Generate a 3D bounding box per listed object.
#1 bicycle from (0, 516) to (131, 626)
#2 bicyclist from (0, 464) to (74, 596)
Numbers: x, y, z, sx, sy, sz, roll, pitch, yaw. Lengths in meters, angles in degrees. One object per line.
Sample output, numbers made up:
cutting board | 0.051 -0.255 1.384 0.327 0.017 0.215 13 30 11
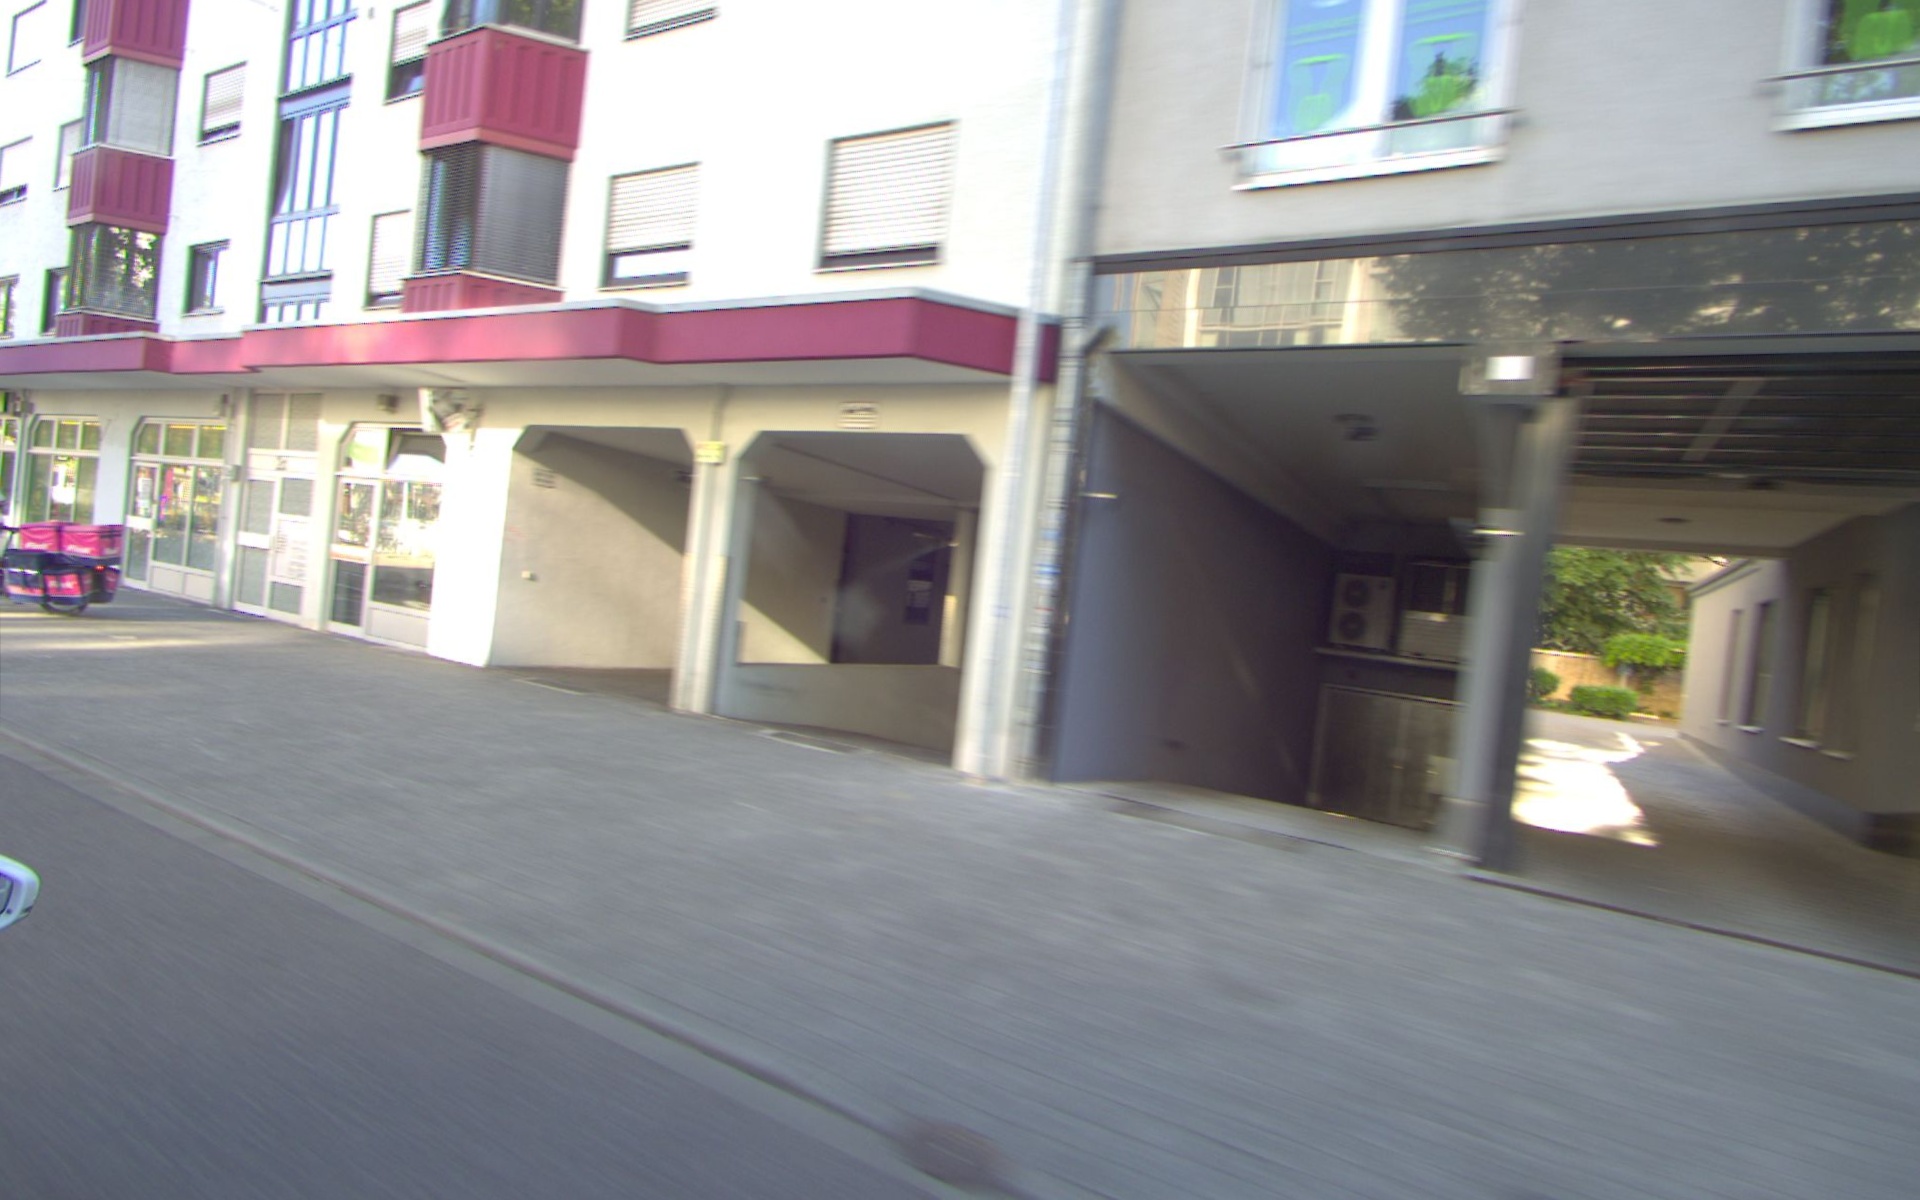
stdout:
bicycle | -11.953 -0.432 12.343 2.552 1.198 0.962 7 1 -7
bicyclist | -11.921 -0.891 12.337 1.060 1.559 1.059 6 1 -6
